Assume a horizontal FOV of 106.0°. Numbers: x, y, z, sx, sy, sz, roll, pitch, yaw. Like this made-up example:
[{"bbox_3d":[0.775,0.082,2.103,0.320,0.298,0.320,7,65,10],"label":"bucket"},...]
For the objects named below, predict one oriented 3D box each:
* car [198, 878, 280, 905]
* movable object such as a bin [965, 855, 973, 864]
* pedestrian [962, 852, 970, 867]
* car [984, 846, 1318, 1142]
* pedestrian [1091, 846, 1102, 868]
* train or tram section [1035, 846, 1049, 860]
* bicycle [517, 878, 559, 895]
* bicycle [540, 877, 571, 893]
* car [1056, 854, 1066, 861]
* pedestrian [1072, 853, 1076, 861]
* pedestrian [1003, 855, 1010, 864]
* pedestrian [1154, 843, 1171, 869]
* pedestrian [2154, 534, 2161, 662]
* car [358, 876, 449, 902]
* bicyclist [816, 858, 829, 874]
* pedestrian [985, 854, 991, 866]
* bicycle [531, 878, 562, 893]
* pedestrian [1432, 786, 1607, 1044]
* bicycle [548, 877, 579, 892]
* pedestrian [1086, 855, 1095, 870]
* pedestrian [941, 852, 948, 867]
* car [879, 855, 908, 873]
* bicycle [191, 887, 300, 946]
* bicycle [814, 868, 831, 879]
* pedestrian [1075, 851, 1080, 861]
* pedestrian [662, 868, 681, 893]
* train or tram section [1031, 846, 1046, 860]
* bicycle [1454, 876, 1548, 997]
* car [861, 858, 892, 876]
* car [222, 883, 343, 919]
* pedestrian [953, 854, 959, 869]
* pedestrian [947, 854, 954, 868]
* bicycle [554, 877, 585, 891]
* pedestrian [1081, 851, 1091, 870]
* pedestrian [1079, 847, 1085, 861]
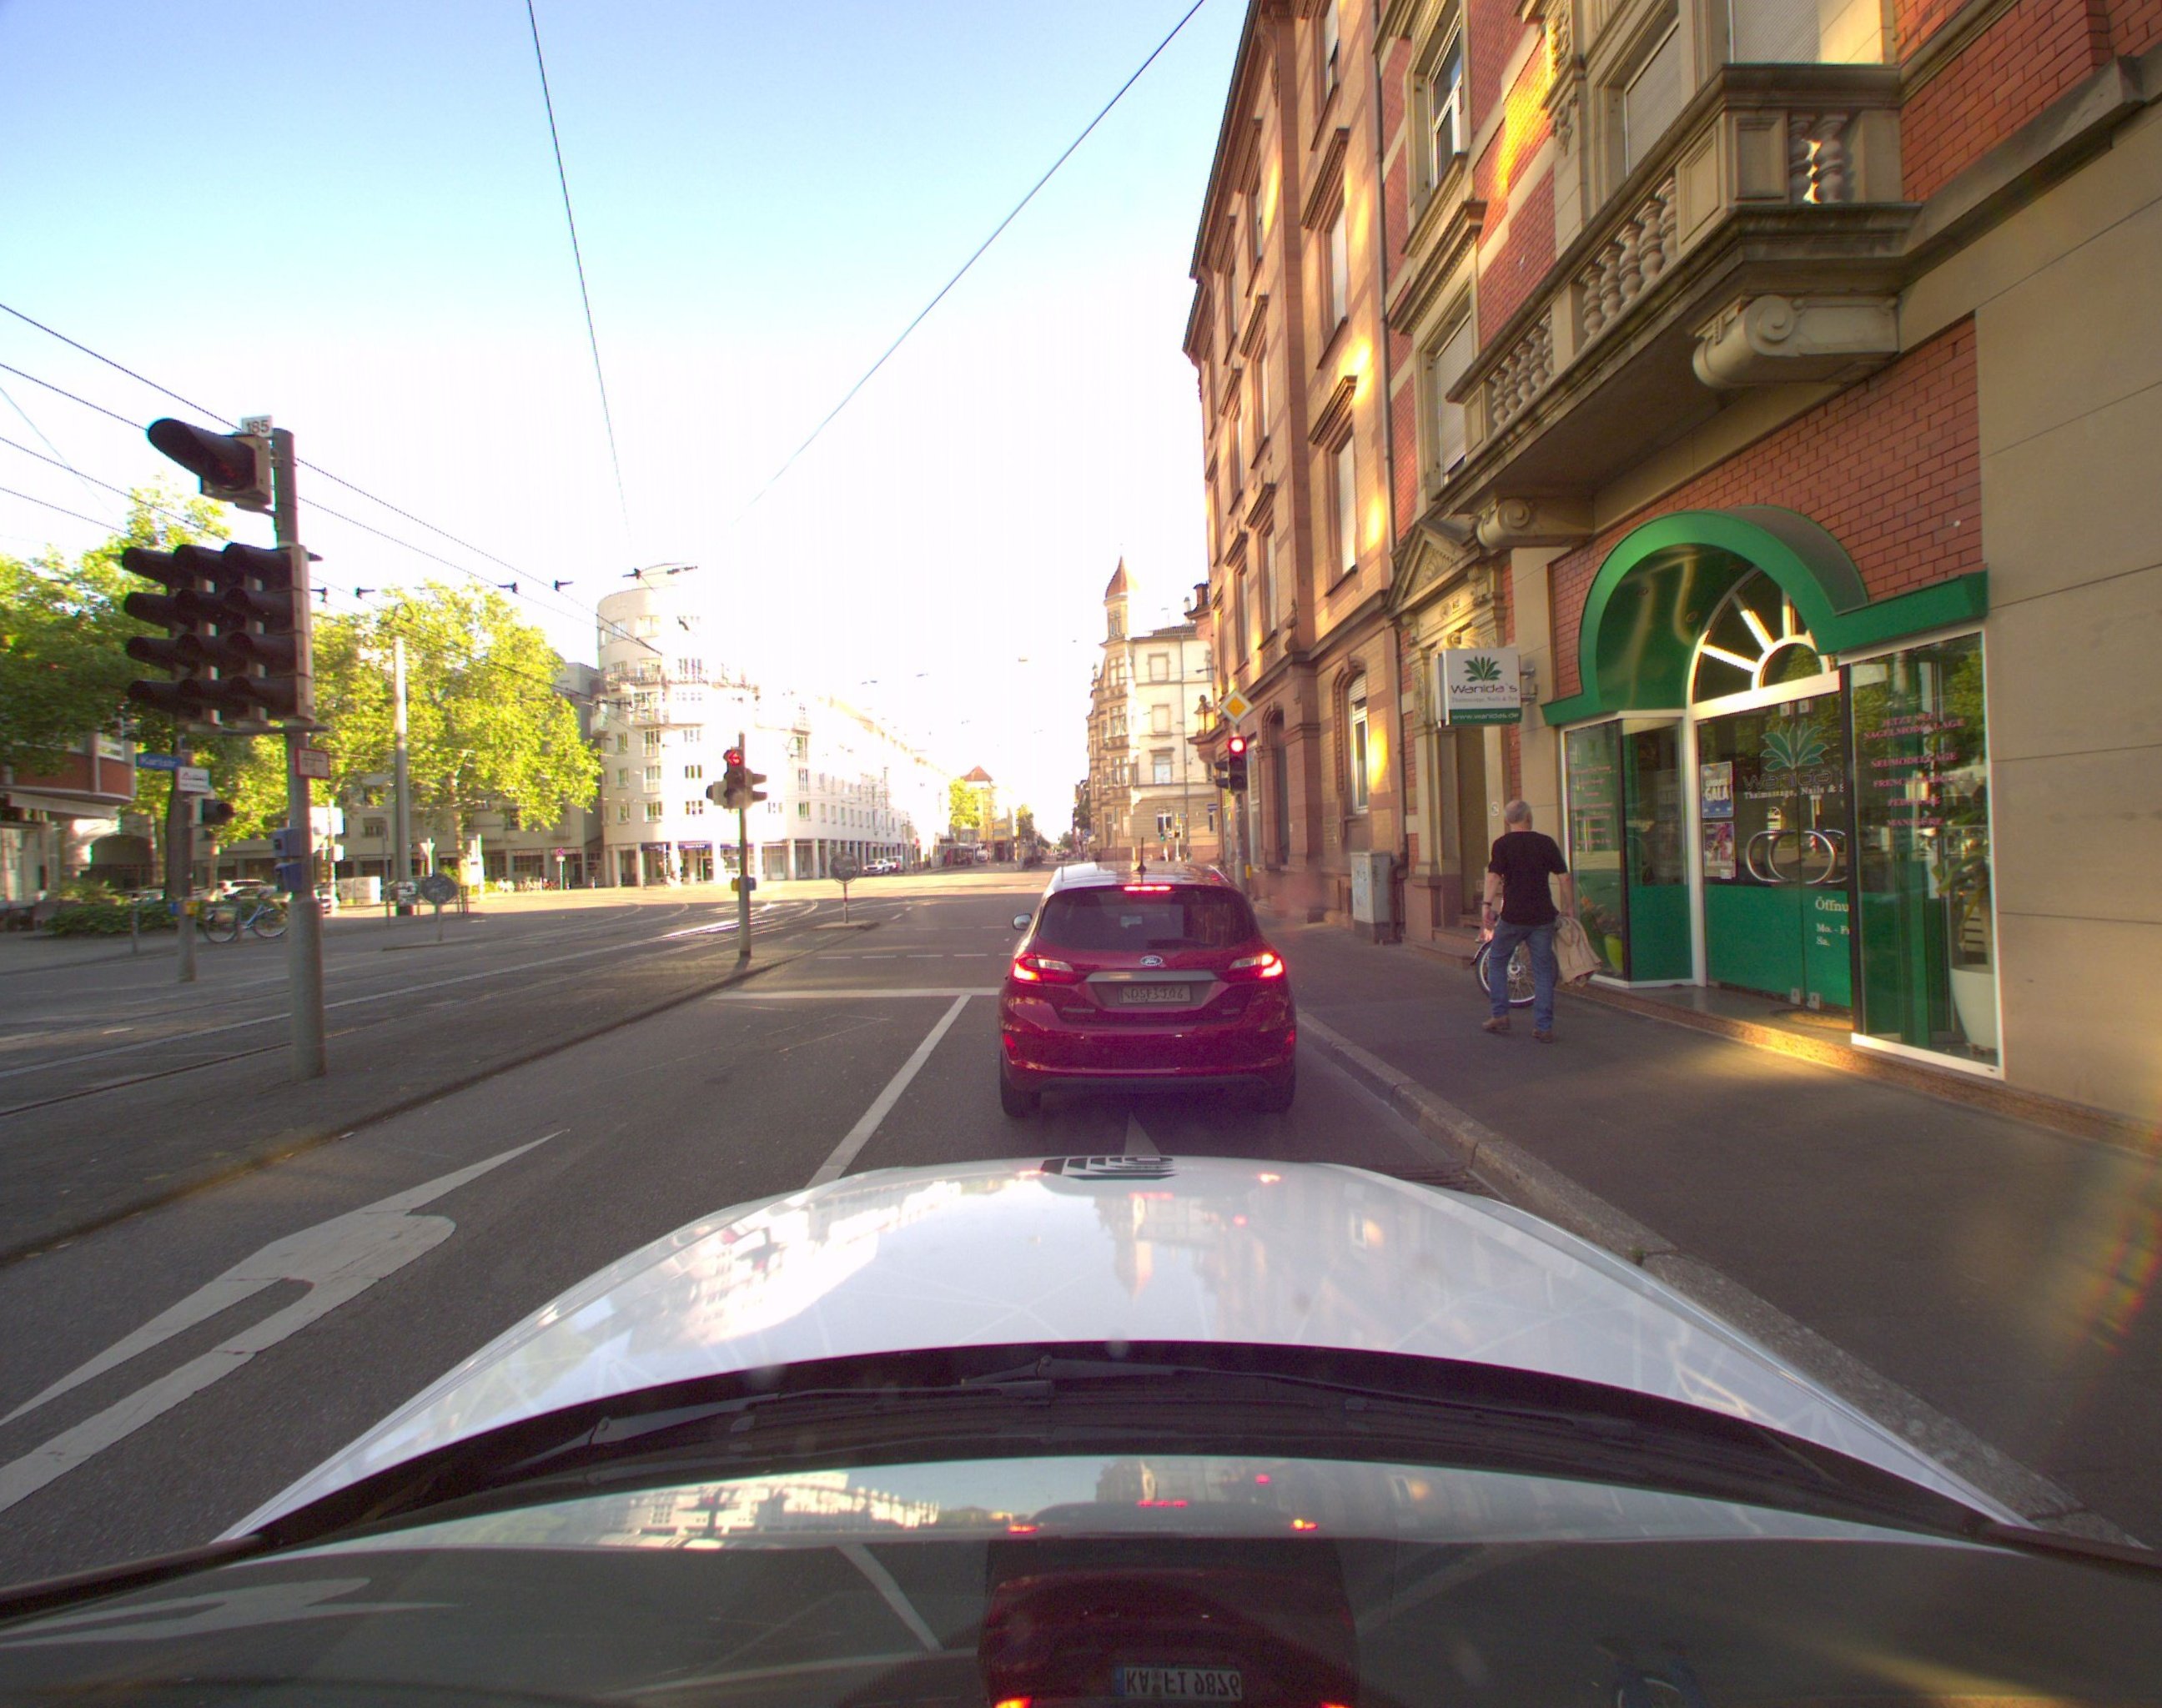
[{"bbox_3d":[-60.479,2.662,58.591,1.790,1.715,3.996,-2,0,-3],"label":"car"},{"bbox_3d":[-15.101,0.748,109.840,0.935,1.286,0.933,-2,-1,-4],"label":"movable object such as a bin"},{"bbox_3d":[-14.557,0.685,103.249,0.930,1.904,0.880,-2,-1,-4],"label":"pedestrian"},{"bbox_3d":[0.410,0.707,5.917,1.686,1.495,3.581,0,0,2],"label":"car"},{"bbox_3d":[1.349,0.216,69.838,0.799,1.824,0.797,-4,1,-2],"label":"pedestrian"},{"bbox_3d":[-10.171,-0.203,215.271,2.875,3.490,14.951,0,0,1],"label":"train or tram section"},{"bbox_3d":[-41.440,2.464,62.153,2.440,1.107,0.933,-2,0,-15],"label":"bicycle"},{"bbox_3d":[-41.795,2.466,64.778,1.933,1.107,0.820,-2,0,3],"label":"bicycle"},{"bbox_3d":[-4.103,0.718,169.077,1.988,1.449,3.998,-1,0,-1],"label":"car"},{"bbox_3d":[-1.408,0.570,170.942,0.748,1.661,0.650,0,-1,1],"label":"pedestrian"},{"bbox_3d":[-15.930,1.268,174.113,1.347,1.904,1.465,-2,-1,-17],"label":"pedestrian"},{"bbox_3d":[5.855,0.123,58.619,1.021,1.807,1.081,-2,0,-5],"label":"pedestrian"},{"bbox_3d":[2.290,0.382,1.015,0.819,1.894,0.754,-3,0,-1],"label":"pedestrian"},{"bbox_3d":[-44.401,2.267,53.432,4.423,1.421,1.892,-3,0,2],"label":"car"},{"bbox_3d":[-24.301,1.159,76.520,0.838,1.467,0.896,-2,0,-2],"label":"bicyclist"},{"bbox_3d":[-15.152,0.927,132.668,0.880,1.904,0.929,-2,-1,-17],"label":"pedestrian"},{"bbox_3d":[-41.860,2.475,63.789,1.933,1.107,0.820,-2,0,3],"label":"bicycle"},{"bbox_3d":[3.168,0.416,5.952,0.773,1.723,0.754,-3,0,-1],"label":"pedestrian"},{"bbox_3d":[-41.921,2.459,66.005,1.935,1.107,0.819,-2,0,1],"label":"bicycle"},{"bbox_3d":[0.906,0.798,76.357,0.716,1.331,0.795,-3,-1,-3],"label":"pedestrian"},{"bbox_3d":[-15.262,0.633,91.009,0.597,1.691,0.613,-2,-1,-1],"label":"pedestrian"},{"bbox_3d":[-20.389,1.025,88.850,1.988,1.837,5.343,-2,0,-2],"label":"car"},{"bbox_3d":[-19.780,1.451,19.343,0.578,1.235,1.859,-1,0,4],"label":"bicycle"},{"bbox_3d":[-24.278,1.797,76.506,0.838,0.927,2.263,-2,0,-2],"label":"bicycle"},{"bbox_3d":[-0.676,0.318,142.175,0.712,1.774,0.772,-5,1,-5],"label":"pedestrian"},{"bbox_3d":[-29.485,1.923,58.697,0.863,1.681,0.698,-3,2,7],"label":"pedestrian"},{"bbox_3d":[-10.431,-0.249,200.694,2.875,3.490,14.168,0,0,1],"label":"train or tram section"},{"bbox_3d":[3.929,0.731,7.689,0.342,0.996,1.243,-3,0,8],"label":"bicycle"},{"bbox_3d":[-20.303,1.235,81.126,1.988,1.620,4.507,-2,0,-2],"label":"car"},{"bbox_3d":[-36.373,2.133,37.108,4.408,1.421,1.899,-3,0,15],"label":"car"},{"bbox_3d":[-15.533,0.909,101.140,0.694,1.904,0.671,-2,-1,-4],"label":"pedestrian"},{"bbox_3d":[-15.546,0.856,97.079,0.699,1.691,0.666,-2,-1,-25],"label":"pedestrian"},{"bbox_3d":[-42.006,2.454,66.871,1.935,1.107,0.819,-2,0,1],"label":"bicycle"},{"bbox_3d":[0.475,0.636,77.237,0.716,1.721,0.795,-3,-1,-3],"label":"pedestrian"},{"bbox_3d":[0.122,0.041,108.701,0.712,1.774,0.772,-5,1,-5],"label":"pedestrian"}]
